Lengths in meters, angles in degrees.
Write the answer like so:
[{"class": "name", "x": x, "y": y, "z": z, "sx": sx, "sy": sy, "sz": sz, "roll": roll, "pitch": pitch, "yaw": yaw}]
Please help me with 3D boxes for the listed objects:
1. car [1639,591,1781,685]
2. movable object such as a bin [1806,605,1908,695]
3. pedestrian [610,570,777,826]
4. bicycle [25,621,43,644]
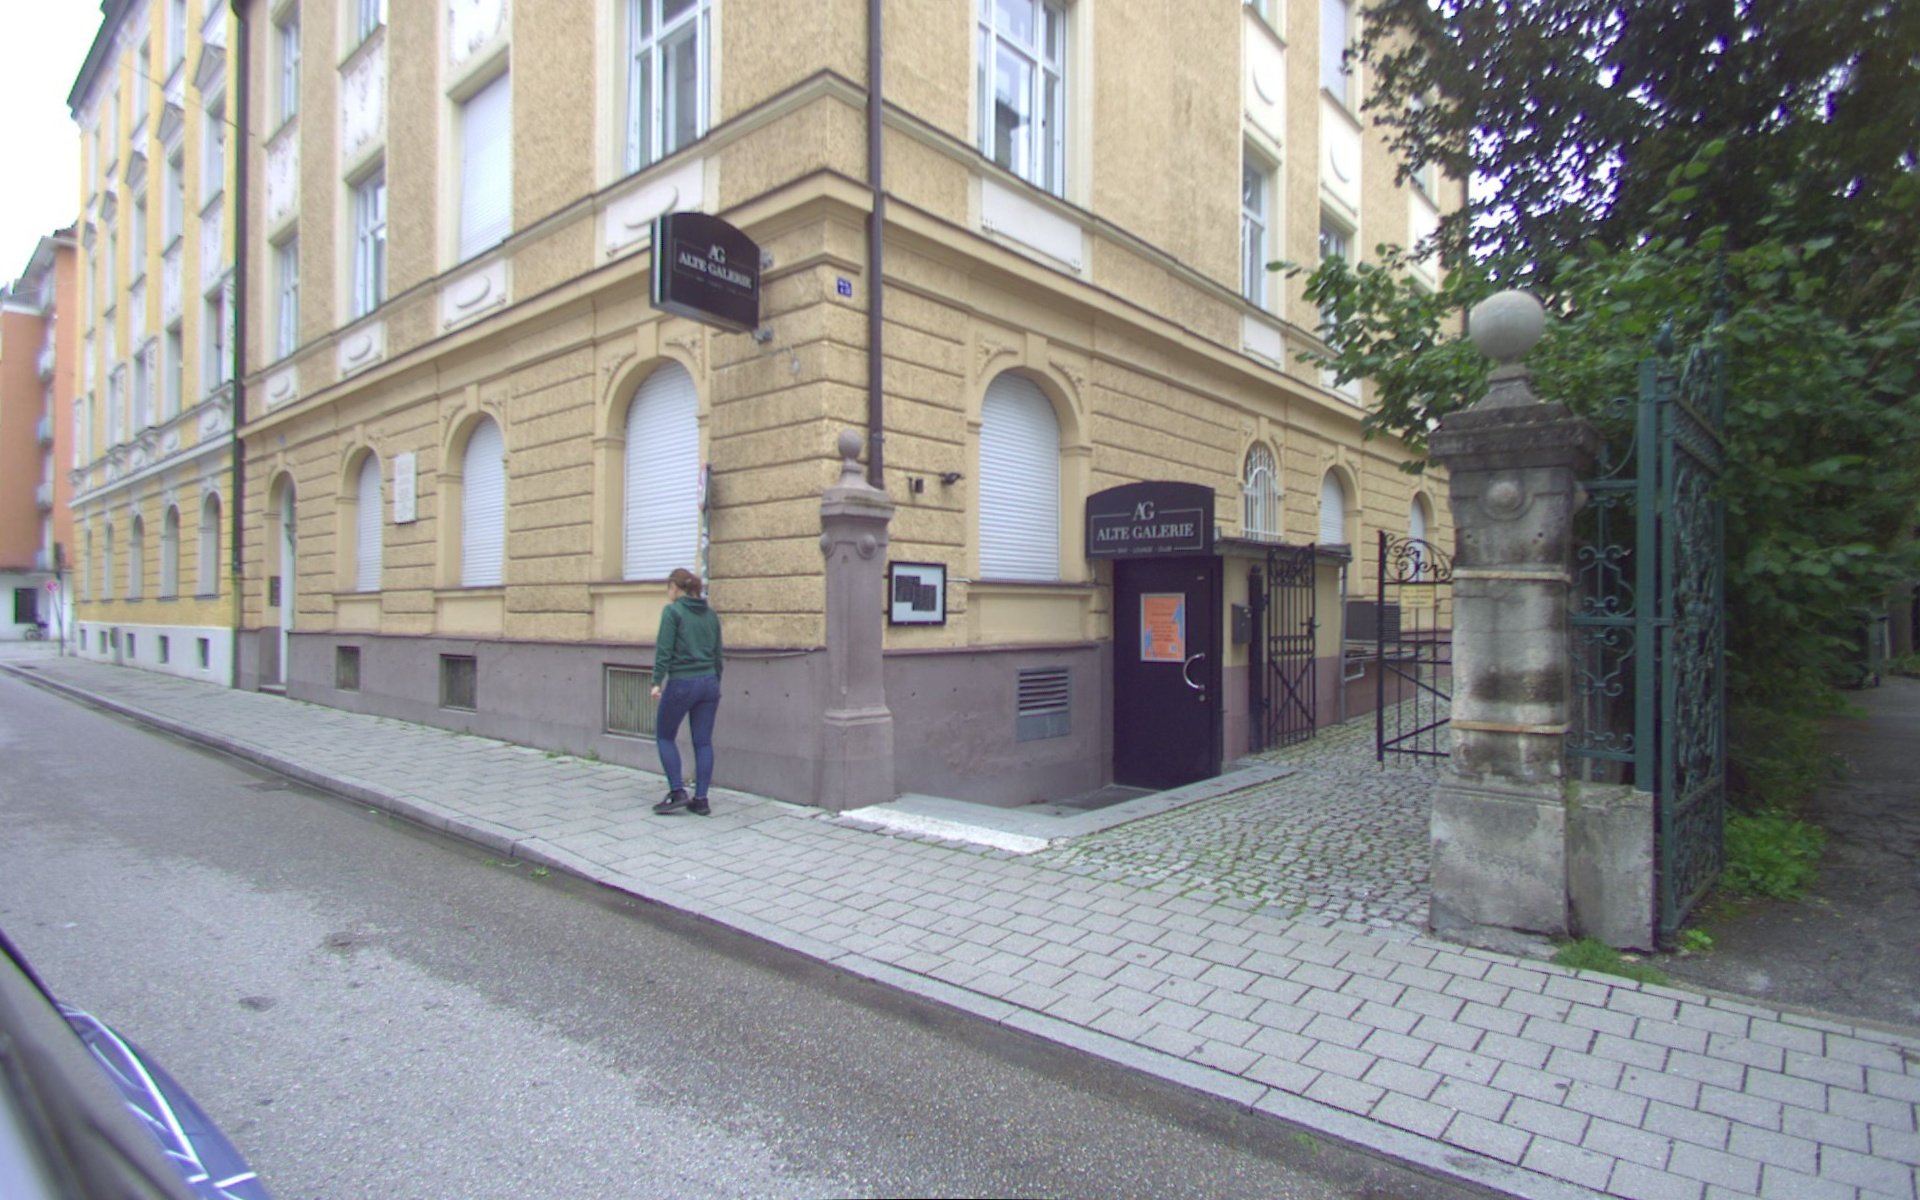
[{"class": "car", "x": 14.714, "y": 0.669, "z": 19.792, "sx": 3.677, "sy": 1.552, "sz": 1.636, "roll": -3, "pitch": 1, "yaw": -44}, {"class": "movable object such as a bin", "x": 14.841, "y": 0.805, "z": 16.752, "sx": 1.209, "sy": 1.414, "sz": 1.109, "roll": 1, "pitch": -2, "yaw": -41}, {"class": "pedestrian", "x": -1.903, "y": 0.640, "z": 7.226, "sx": 0.929, "sy": 1.678, "sz": 0.705, "roll": -1, "pitch": 1, "yaw": 41}, {"class": "bicycle", "x": -39.048, "y": 1.381, "z": 42.666, "sx": 1.539, "sy": 0.944, "sz": 0.386, "roll": -1, "pitch": -2, "yaw": 42}]
